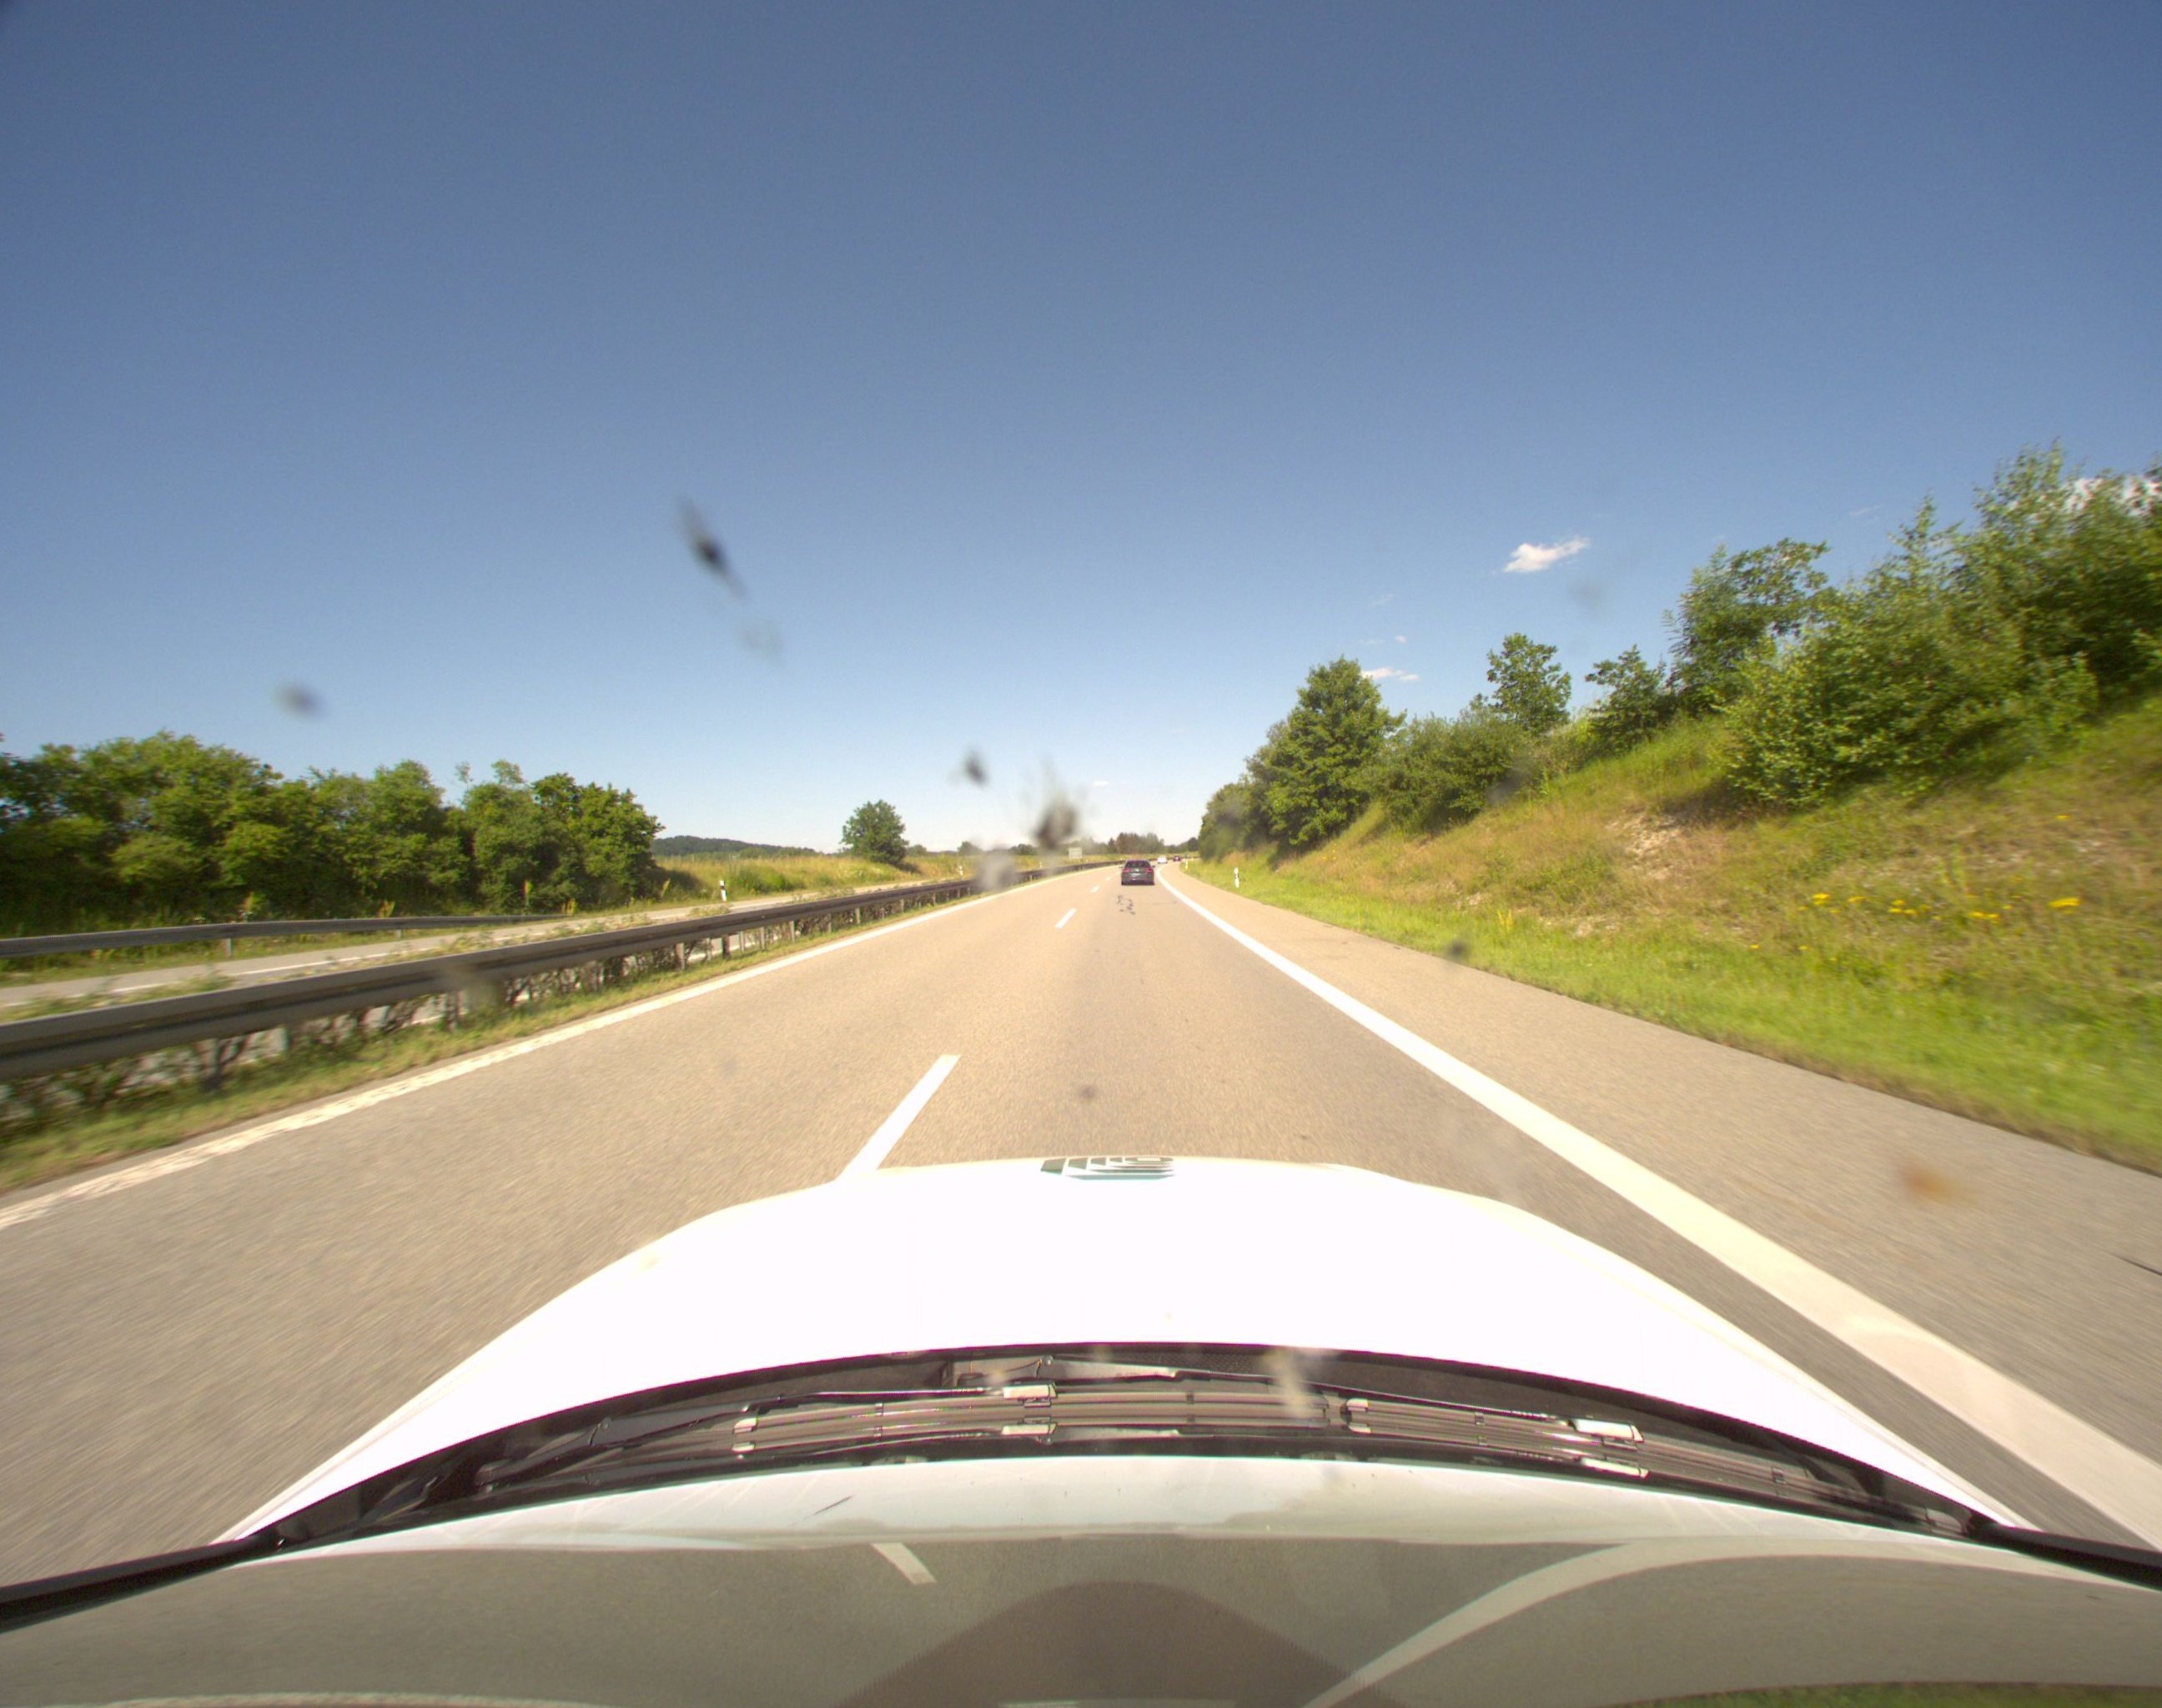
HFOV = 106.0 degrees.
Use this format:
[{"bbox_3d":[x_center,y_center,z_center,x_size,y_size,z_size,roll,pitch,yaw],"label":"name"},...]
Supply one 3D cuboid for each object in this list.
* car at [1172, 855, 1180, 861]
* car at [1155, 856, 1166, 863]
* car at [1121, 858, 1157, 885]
[{"bbox_3d":[23.275,1.030,198.757,1.700,1.387,3.363,0,-1,9],"label":"car"},{"bbox_3d":[15.758,1.131,160.937,1.996,1.344,4.008,1,-1,7],"label":"car"},{"bbox_3d":[3.116,0.928,44.487,1.784,1.344,4.001,0,0,1],"label":"car"}]
